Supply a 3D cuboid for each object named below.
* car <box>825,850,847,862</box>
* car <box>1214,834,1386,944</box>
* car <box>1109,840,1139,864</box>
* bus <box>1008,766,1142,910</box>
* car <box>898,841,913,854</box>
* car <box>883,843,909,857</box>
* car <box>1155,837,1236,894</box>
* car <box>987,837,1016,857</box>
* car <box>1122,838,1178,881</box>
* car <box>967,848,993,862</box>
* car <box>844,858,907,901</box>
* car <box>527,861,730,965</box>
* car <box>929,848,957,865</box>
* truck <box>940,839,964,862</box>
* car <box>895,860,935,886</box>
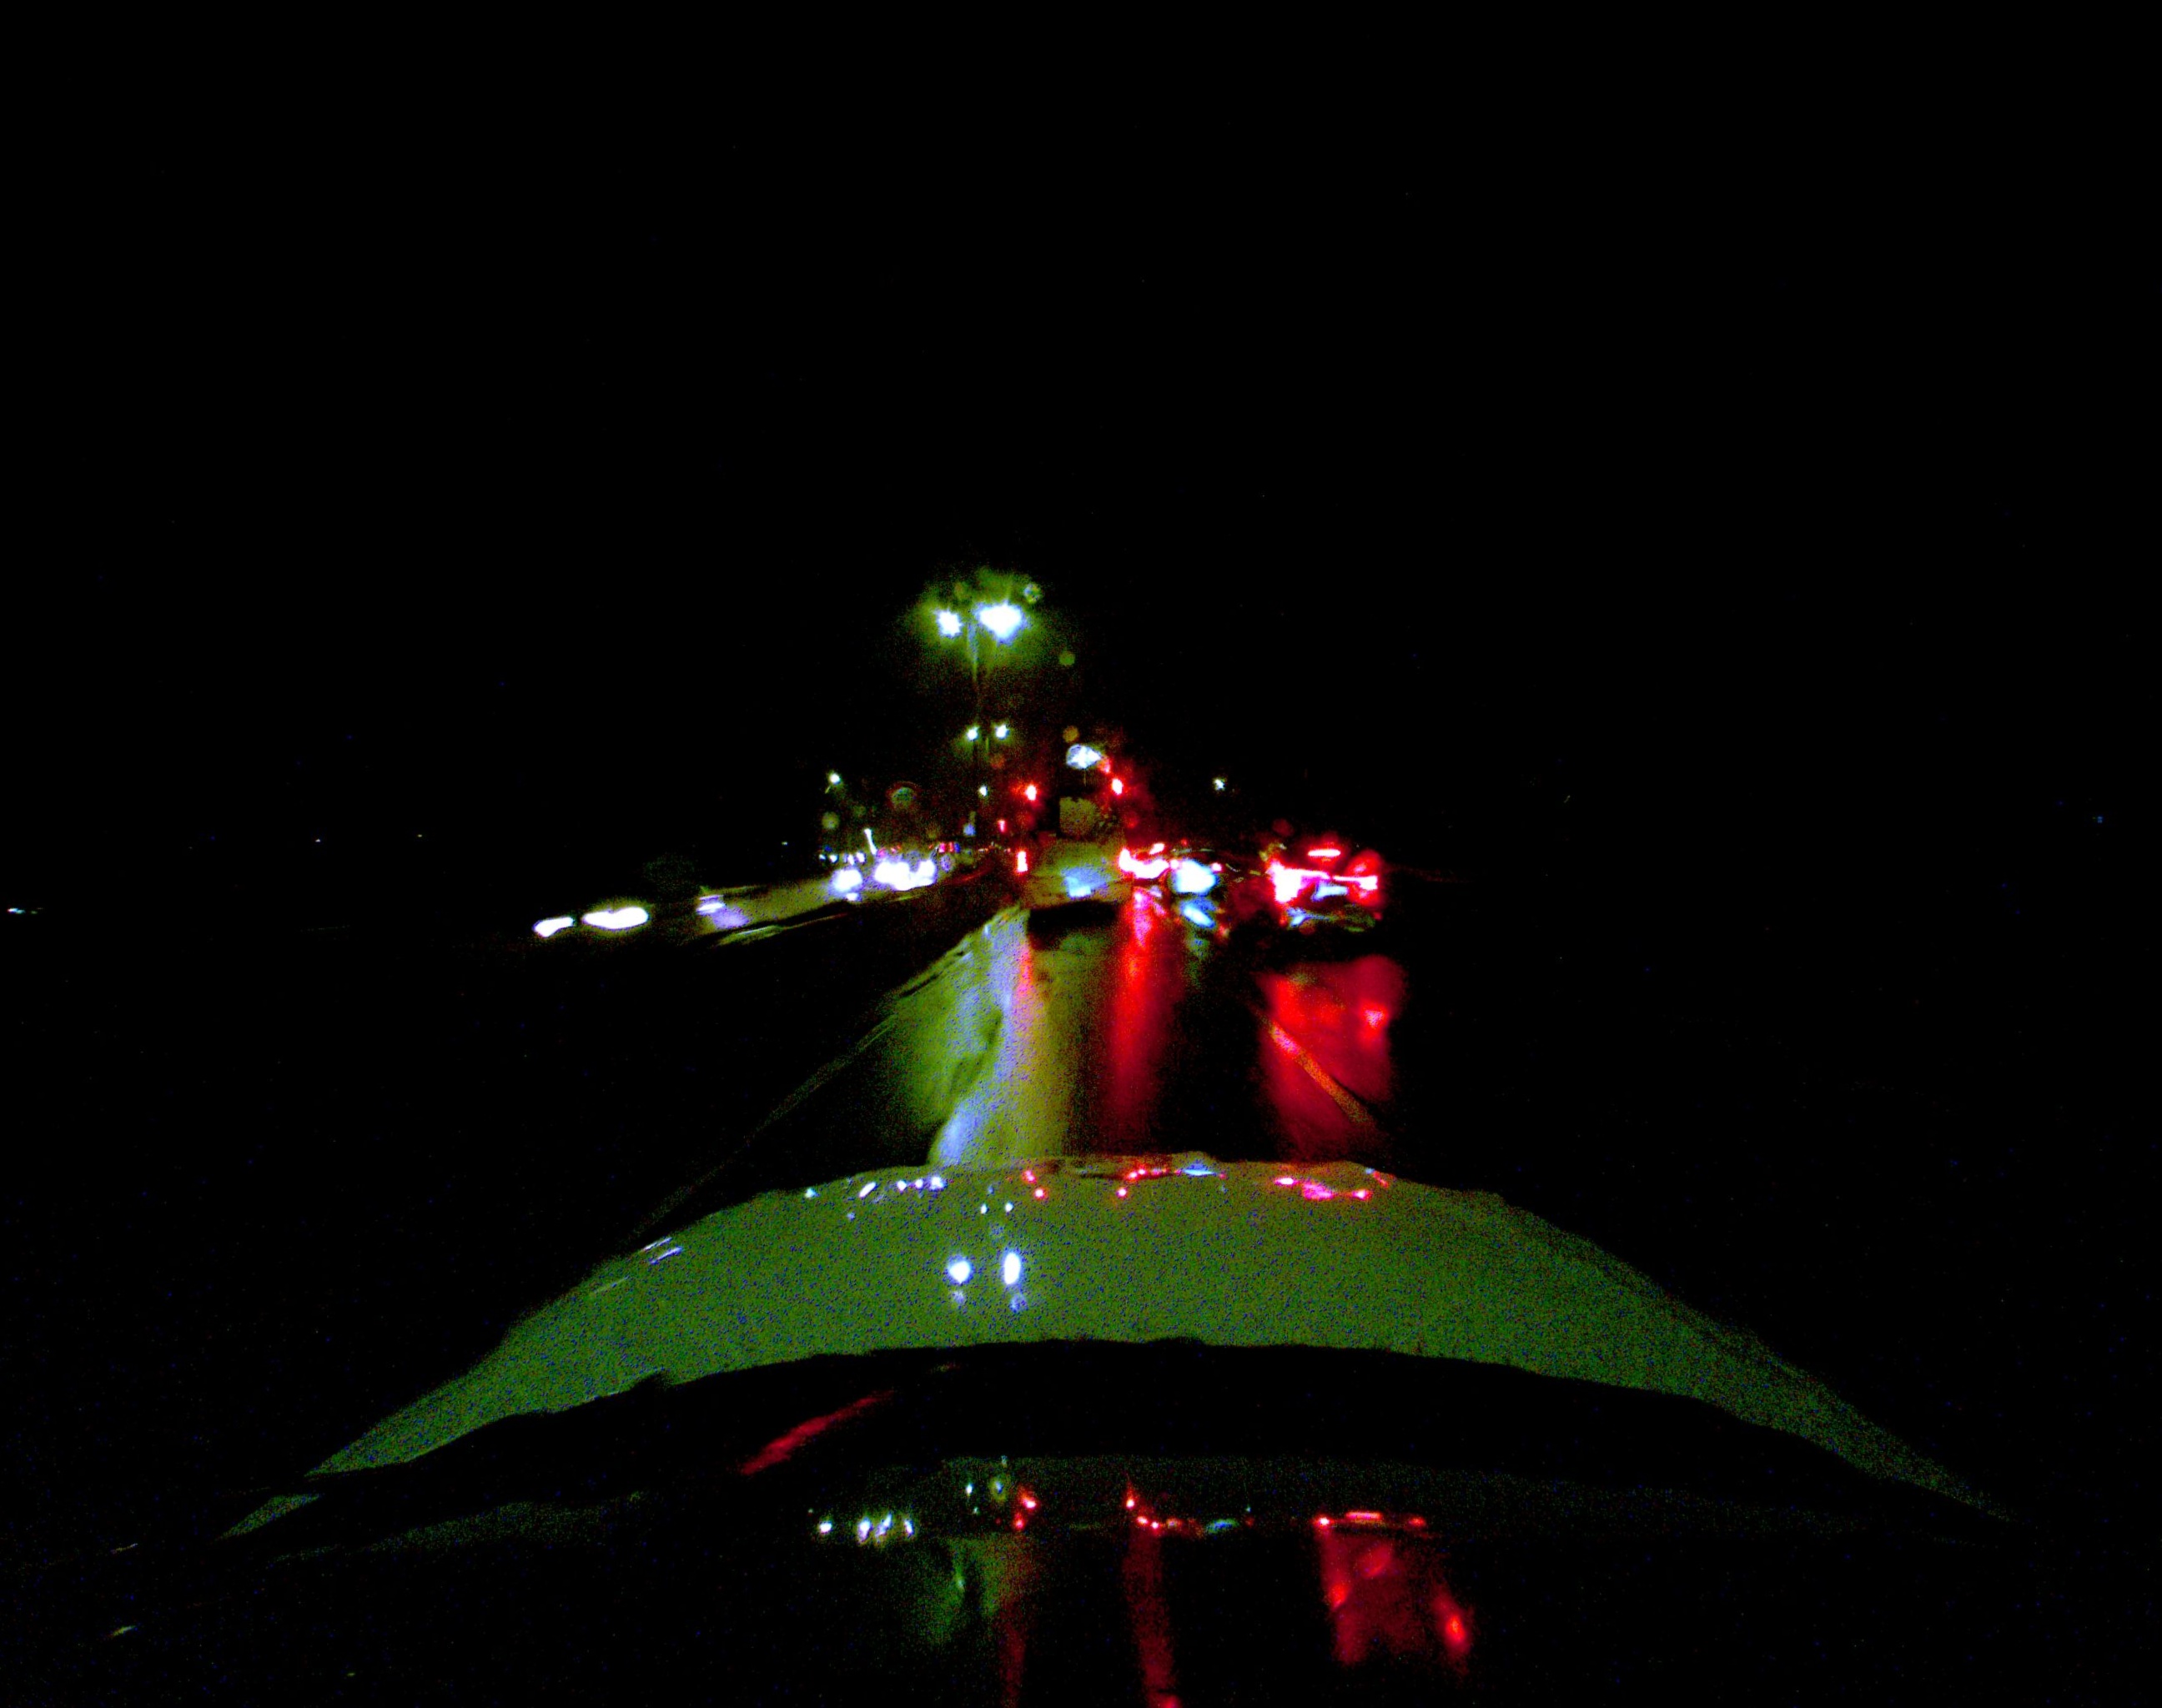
[{"bbox_3d":[-39.655,0.322,131.836,2.010,1.686,3.954,0,1,-40],"label":"car"},{"bbox_3d":[3.460,0.492,13.606,1.735,1.564,3.774,-1,0,-2],"label":"car"},{"bbox_3d":[2.906,-0.127,55.347,1.774,1.543,3.873,-1,0,-1],"label":"car"},{"bbox_3d":[-0.168,-0.381,21.741,2.807,3.024,8.684,-1,0,-1],"label":"bus"},{"bbox_3d":[-27.018,-1.002,125.559,2.123,2.014,3.983,0,0,-12],"label":"car"},{"bbox_3d":[-26.583,-0.562,116.988,2.010,2.014,3.953,0,0,-40],"label":"car"},{"bbox_3d":[3.496,0.312,25.509,1.815,1.590,3.774,-2,0,-2],"label":"car"},{"bbox_3d":[-8.431,-0.740,86.217,2.002,2.014,3.969,0,0,-23],"label":"car"},{"bbox_3d":[2.770,0.187,33.559,1.815,1.590,3.774,-2,0,-2],"label":"car"},{"bbox_3d":[-11.655,0.123,93.967,1.761,1.631,3.590,0,0,-28],"label":"car"},{"bbox_3d":[-9.043,1.076,36.202,1.805,1.568,3.996,-6,1,-2],"label":"car"},{"bbox_3d":[-8.322,0.979,15.448,1.564,1.542,4.157,-5,0,-3],"label":"car"},{"bbox_3d":[-17.609,0.290,103.795,2.226,2.013,3.959,-2,0,-32],"label":"car"},{"bbox_3d":[-14.797,-0.459,93.385,1.861,2.392,4.750,-3,4,-19],"label":"truck"},{"bbox_3d":[-10.636,1.185,52.514,1.813,1.394,4.456,-6,1,-3],"label":"car"}]
